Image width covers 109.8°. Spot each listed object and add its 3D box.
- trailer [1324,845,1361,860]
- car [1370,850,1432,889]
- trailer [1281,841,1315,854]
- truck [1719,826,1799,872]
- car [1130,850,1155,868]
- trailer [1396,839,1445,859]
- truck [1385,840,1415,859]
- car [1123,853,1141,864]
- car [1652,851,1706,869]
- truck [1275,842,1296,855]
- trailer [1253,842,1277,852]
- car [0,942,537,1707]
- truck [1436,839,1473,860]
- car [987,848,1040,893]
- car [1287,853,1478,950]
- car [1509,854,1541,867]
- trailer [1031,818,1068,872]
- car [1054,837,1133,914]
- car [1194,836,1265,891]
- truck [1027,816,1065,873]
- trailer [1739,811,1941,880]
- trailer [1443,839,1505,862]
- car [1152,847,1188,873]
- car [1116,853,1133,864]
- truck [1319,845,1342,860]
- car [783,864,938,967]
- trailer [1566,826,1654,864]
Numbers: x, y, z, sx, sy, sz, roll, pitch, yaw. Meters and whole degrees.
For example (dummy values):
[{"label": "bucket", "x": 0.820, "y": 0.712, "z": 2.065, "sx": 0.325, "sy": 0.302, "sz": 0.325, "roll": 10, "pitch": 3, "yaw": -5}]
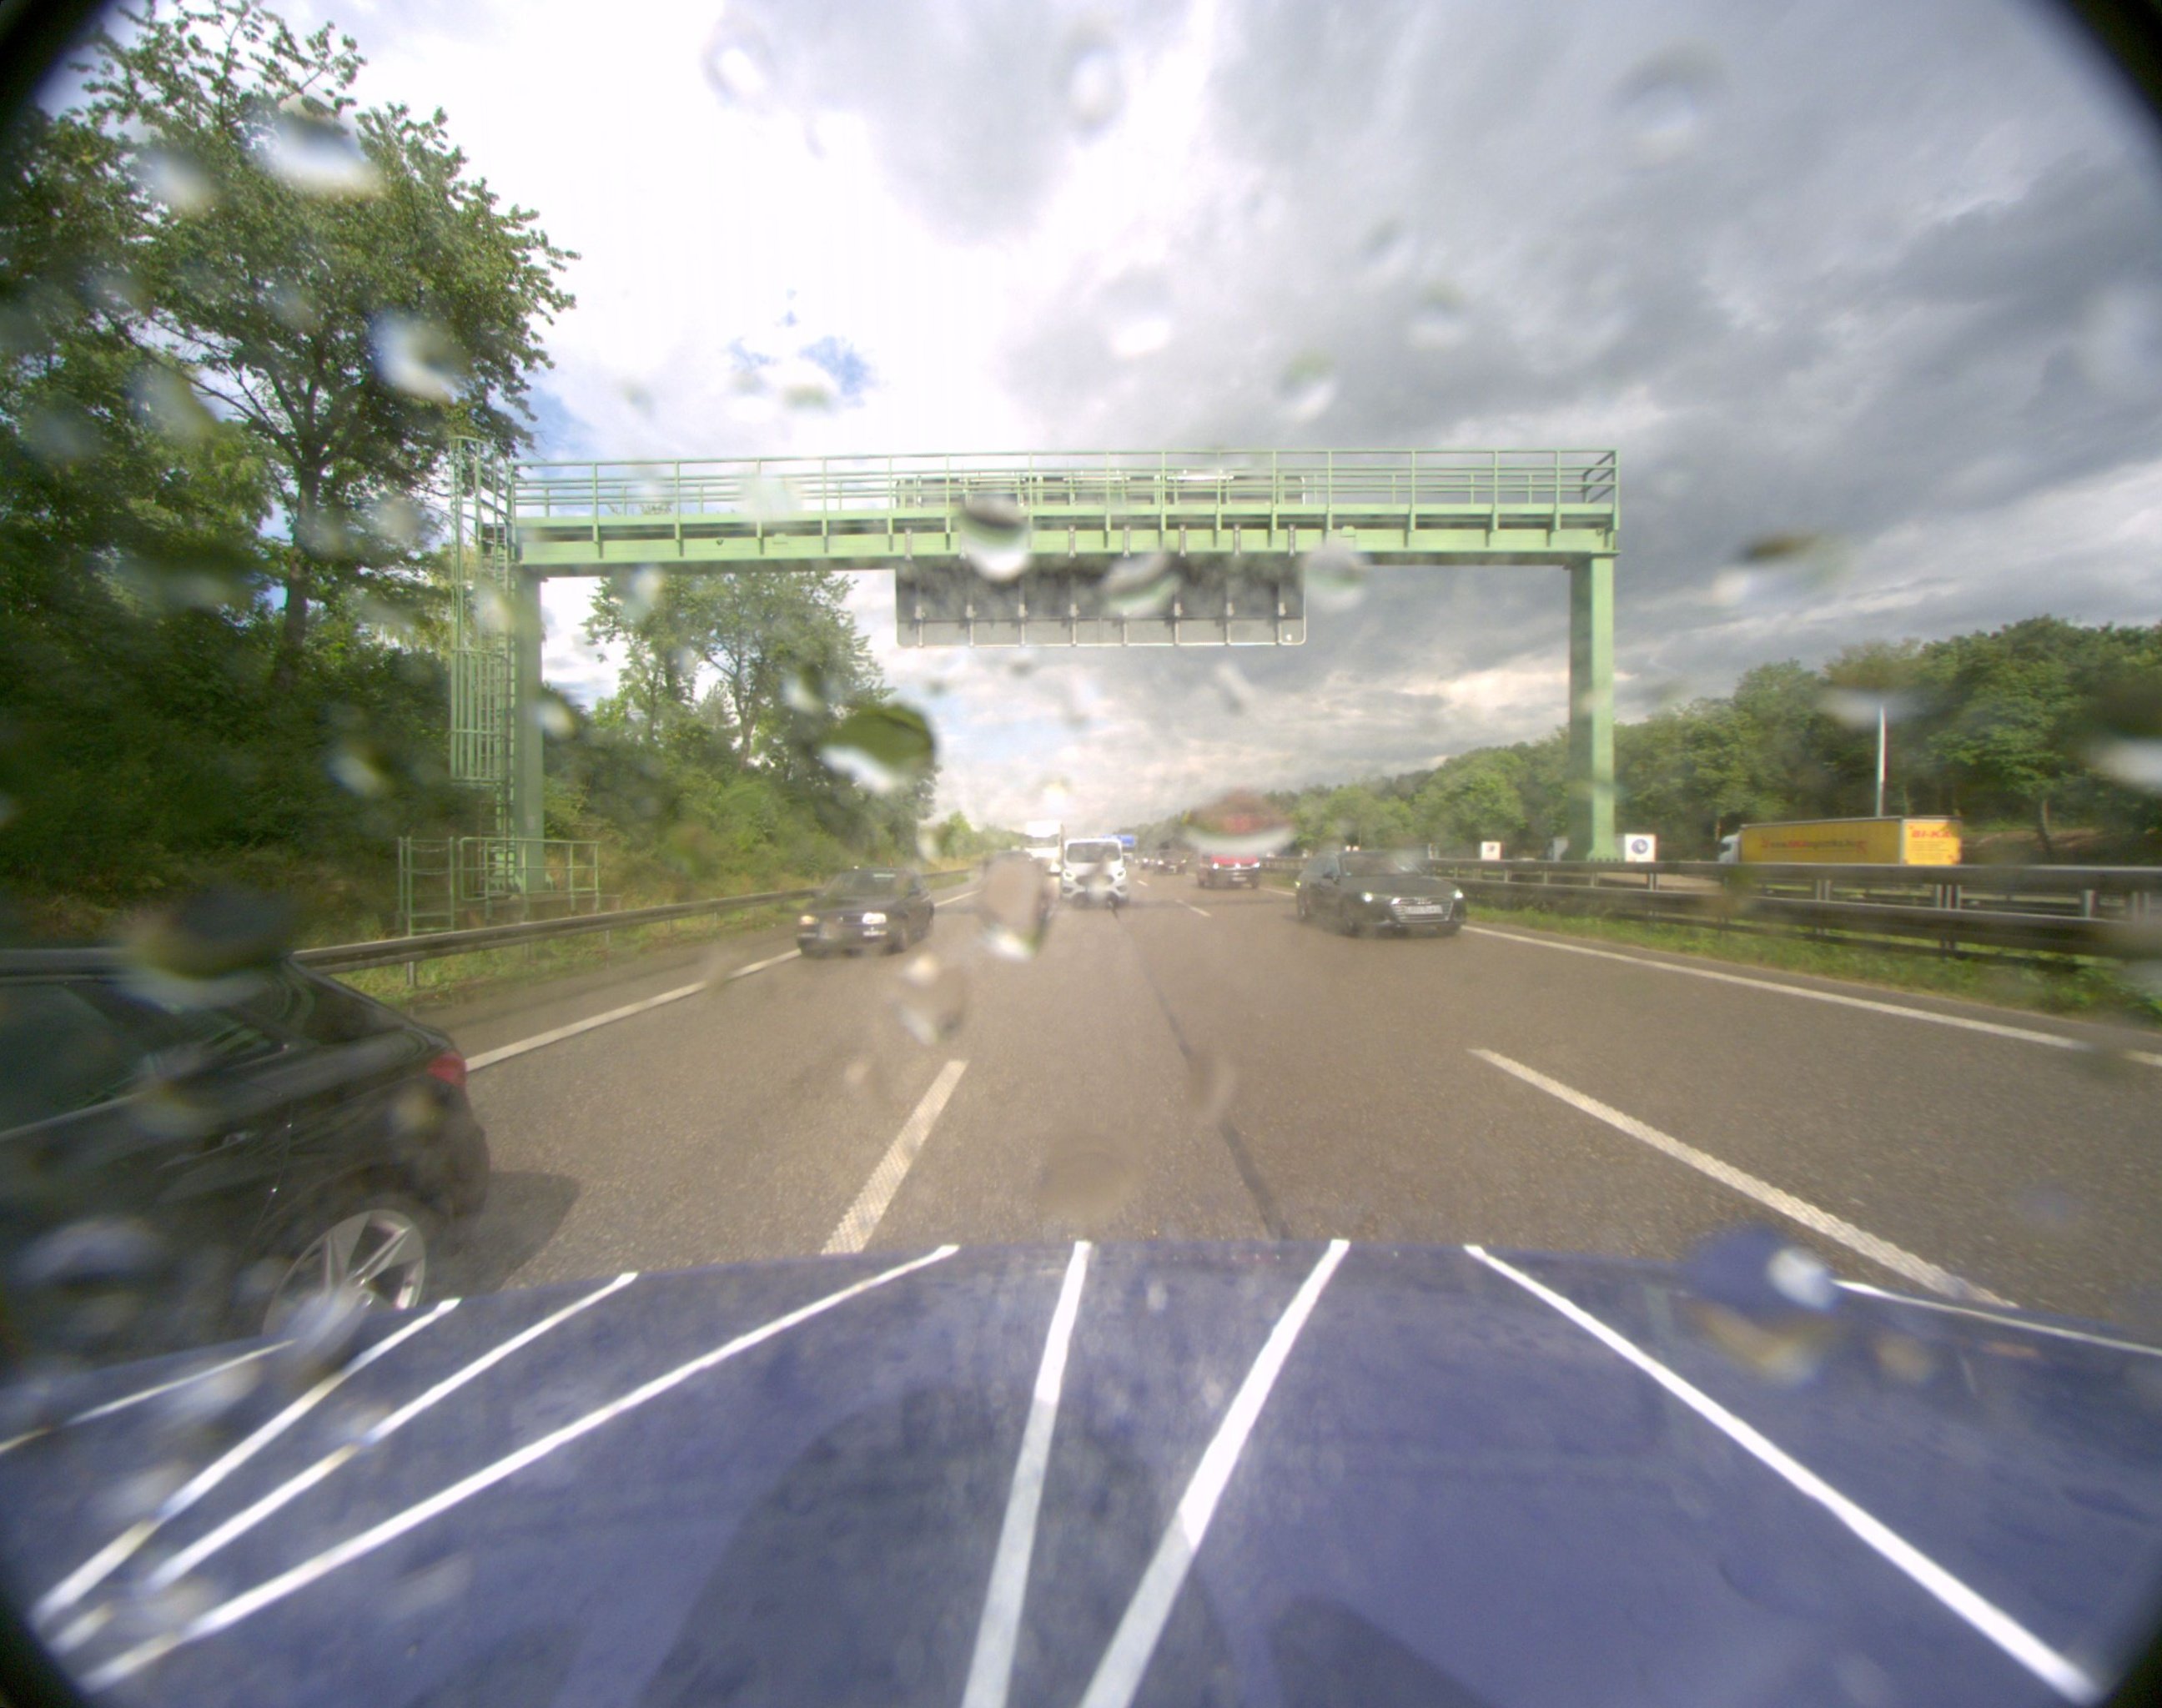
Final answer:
[{"label": "trailer", "x": 55.974, "y": -0.352, "z": 162.947, "sx": 3.193, "sy": 3.252, "sz": 12.644, "roll": 0, "pitch": 0, "yaw": -2}, {"label": "car", "x": 18.438, "y": 0.850, "z": 43.903, "sx": 1.836, "sy": 2.002, "sz": 4.000, "roll": -3, "pitch": 0, "yaw": 1}, {"label": "trailer", "x": 53.444, "y": -1.608, "z": 187.785, "sx": 3.086, "sy": 3.252, "sz": 13.401, "roll": 0, "pitch": 0, "yaw": -6}, {"label": "truck", "x": 48.217, "y": -0.397, "z": 54.181, "sx": 1.979, "sy": 3.080, "sz": 5.080, "roll": -2, "pitch": 1, "yaw": 13}, {"label": "car", "x": 5.483, "y": 0.418, "z": 67.800, "sx": 1.895, "sy": 1.557, "sz": 4.053, "roll": -2, "pitch": 0, "yaw": 0}, {"label": "trailer", "x": 57.007, "y": -0.800, "z": 128.162, "sx": 2.611, "sy": 3.252, "sz": 12.647, "roll": 0, "pitch": 0, "yaw": 0}, {"label": "truck", "x": 57.047, "y": -0.860, "z": 135.892, "sx": 2.582, "sy": 3.232, "sz": 6.535, "roll": 0, "pitch": 1, "yaw": 0}, {"label": "car", "x": 5.731, "y": 0.493, "z": 85.733, "sx": 1.675, "sy": 1.228, "sz": 4.000, "roll": -2, "pitch": 0, "yaw": 0}, {"label": "car", "x": 50.932, "y": 0.500, "z": 64.814, "sx": 1.898, "sy": 1.494, "sz": 4.002, "roll": 0, "pitch": 0, "yaw": 8}, {"label": "truck", "x": 52.577, "y": -1.424, "z": 195.740, "sx": 3.082, "sy": 3.237, "sz": 6.093, "roll": 0, "pitch": 1, "yaw": -6}, {"label": "trailer", "x": 50.278, "y": -1.833, "z": 208.257, "sx": 2.537, "sy": 2.559, "sz": 9.869, "roll": -2, "pitch": 1, "yaw": -11}, {"label": "car", "x": -2.949, "y": 1.061, "z": 0.646, "sx": 1.759, "sy": 1.388, "sz": 4.368, "roll": -2, "pitch": 0, "yaw": 0}, {"label": "truck", "x": 56.830, "y": -0.671, "z": 115.683, "sx": 3.049, "sy": 3.165, "sz": 5.597, "roll": 0, "pitch": 0, "yaw": 2}, {"label": "car", "x": -2.889, "y": 0.674, "z": 33.580, "sx": 1.831, "sy": 1.793, "sz": 5.305, "roll": -1, "pitch": 0, "yaw": 0}, {"label": "car", "x": 5.228, "y": 0.724, "z": 13.877, "sx": 1.723, "sy": 1.403, "sz": 4.467, "roll": -2, "pitch": 0, "yaw": 0}, {"label": "car", "x": 55.023, "y": 0.816, "z": 94.313, "sx": 1.899, "sy": 1.494, "sz": 4.001, "roll": 0, "pitch": 0, "yaw": 4}, {"label": "trailer", "x": -2.566, "y": -0.750, "z": 65.442, "sx": 2.451, "sy": 4.095, "sz": 12.215, "roll": -2, "pitch": 1, "yaw": 0}, {"label": "car", "x": 0.342, "y": 0.557, "z": 22.502, "sx": 1.985, "sy": 1.973, "sz": 5.168, "roll": -2, "pitch": 0, "yaw": 0}, {"label": "car", "x": 5.850, "y": 0.340, "z": 30.524, "sx": 1.895, "sy": 1.973, "sz": 4.750, "roll": -2, "pitch": 0, "yaw": 0}, {"label": "truck", "x": -2.609, "y": -0.695, "z": 57.612, "sx": 2.460, "sy": 4.080, "sz": 5.332, "roll": -2, "pitch": 0, "yaw": 0}, {"label": "trailer", "x": 46.740, "y": -0.566, "z": 47.703, "sx": 1.996, "sy": 3.673, "sz": 13.669, "roll": -2, "pitch": 1, "yaw": 13}, {"label": "trailer", "x": 56.568, "y": -0.530, "z": 109.766, "sx": 3.026, "sy": 3.174, "sz": 12.175, "roll": 0, "pitch": 0, "yaw": 2}, {"label": "car", "x": 5.986, "y": 0.390, "z": 51.291, "sx": 1.895, "sy": 1.660, "sz": 4.294, "roll": -2, "pitch": 0, "yaw": 0}, {"label": "car", "x": 5.425, "y": 0.570, "z": 95.274, "sx": 1.888, "sy": 1.228, "sz": 4.506, "roll": -2, "pitch": 0, "yaw": 0}, {"label": "truck", "x": 55.733, "y": -0.391, "z": 169.610, "sx": 3.182, "sy": 3.237, "sz": 5.389, "roll": 1, "pitch": 1, "yaw": -2}, {"label": "car", "x": -3.705, "y": 0.968, "z": 13.431, "sx": 1.655, "sy": 1.448, "sz": 3.744, "roll": -2, "pitch": 0, "yaw": -1}, {"label": "trailer", "x": 52.792, "y": -0.869, "z": 76.347, "sx": 2.186, "sy": 3.579, "sz": 11.726, "roll": 0, "pitch": 0, "yaw": 8}]
